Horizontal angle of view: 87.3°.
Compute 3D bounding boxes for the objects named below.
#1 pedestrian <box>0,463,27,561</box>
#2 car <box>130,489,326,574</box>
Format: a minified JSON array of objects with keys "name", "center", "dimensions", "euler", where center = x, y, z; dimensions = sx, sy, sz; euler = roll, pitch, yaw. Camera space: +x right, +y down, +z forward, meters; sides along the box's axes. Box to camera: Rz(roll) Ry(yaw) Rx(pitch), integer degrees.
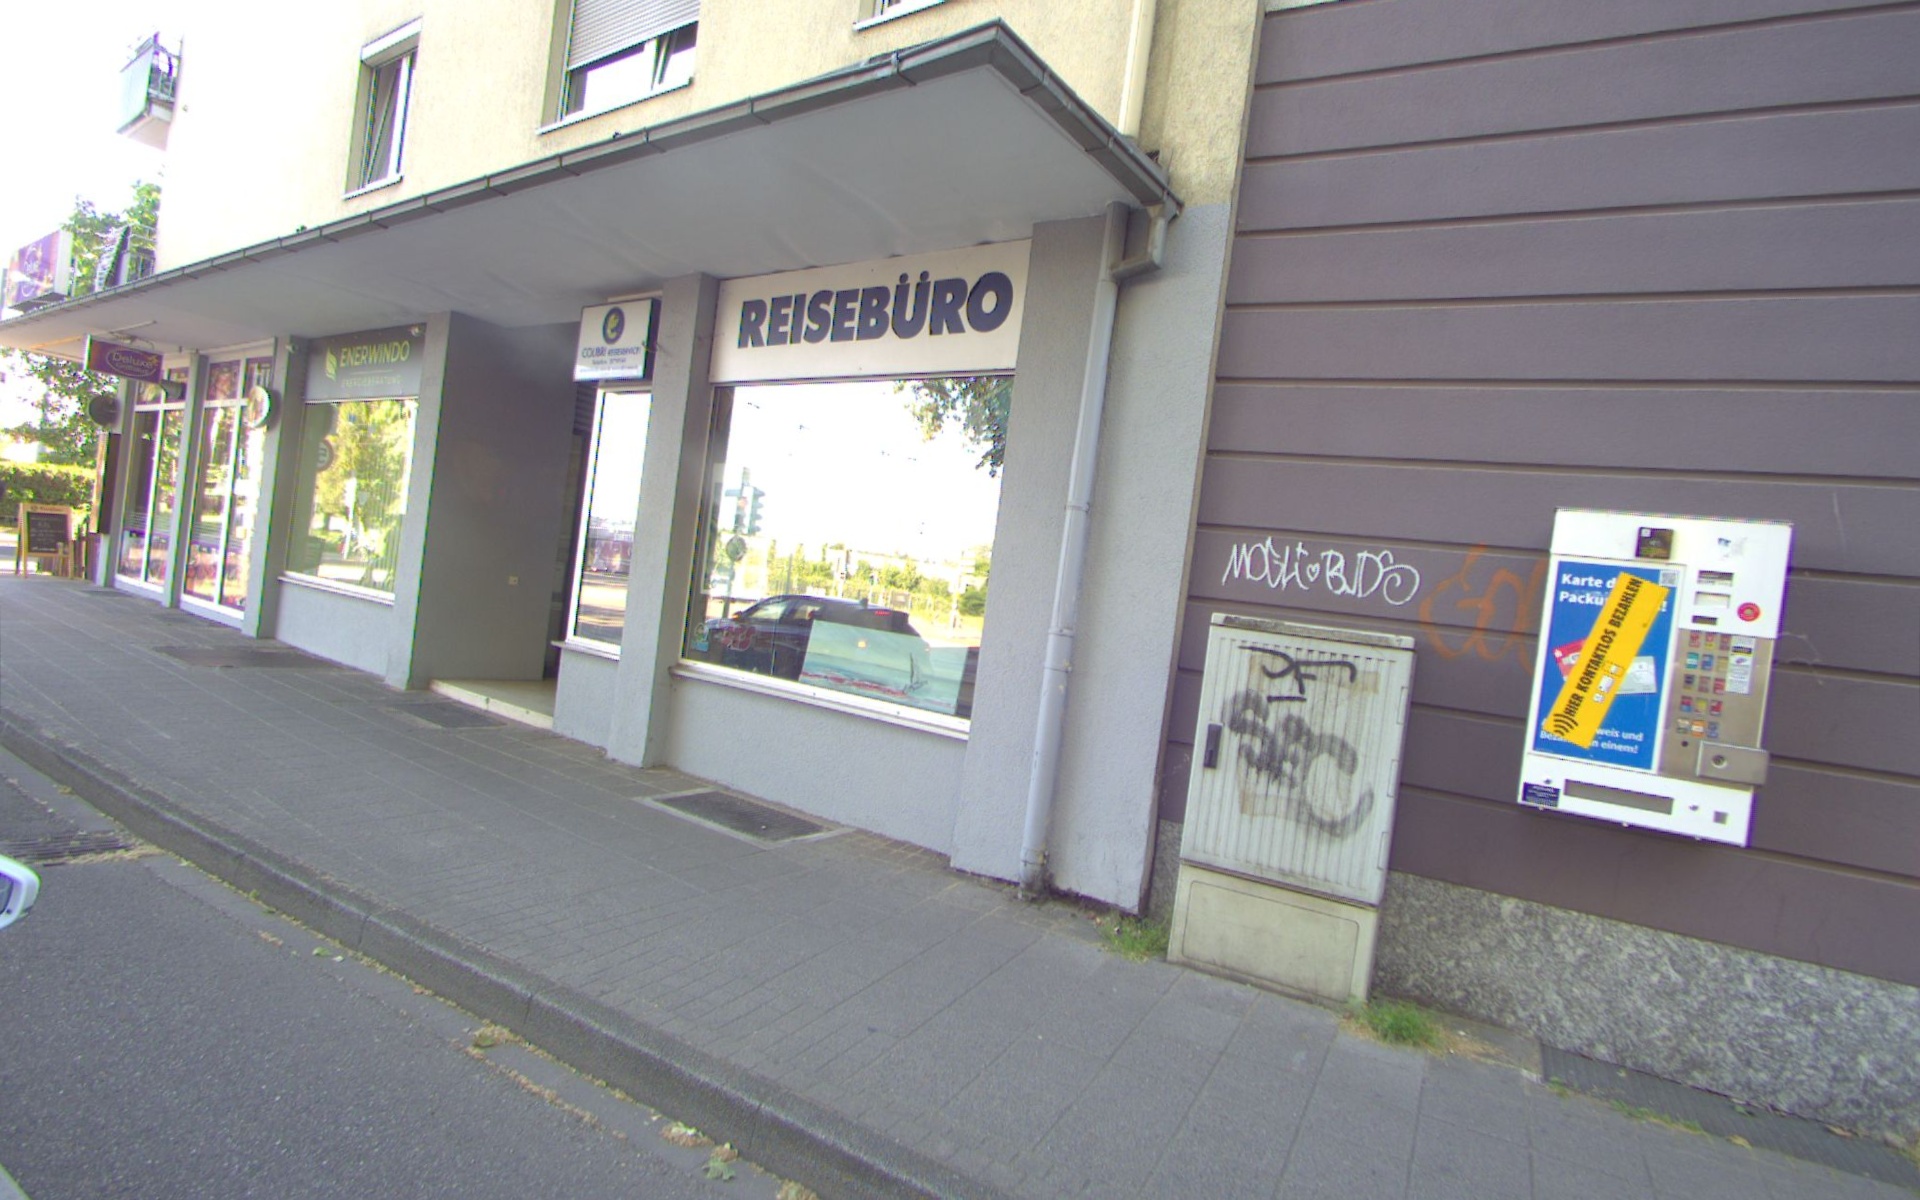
[{"name":"pedestrian","center":[-18.963,-1.748,19.661],"dimensions":[0.695,1.869,0.698],"euler":[7,1,-19]},{"name":"car","center":[-21.070,-1.909,29.091],"dimensions":[1.781,1.835,4.172],"euler":[4,-3,40]}]
